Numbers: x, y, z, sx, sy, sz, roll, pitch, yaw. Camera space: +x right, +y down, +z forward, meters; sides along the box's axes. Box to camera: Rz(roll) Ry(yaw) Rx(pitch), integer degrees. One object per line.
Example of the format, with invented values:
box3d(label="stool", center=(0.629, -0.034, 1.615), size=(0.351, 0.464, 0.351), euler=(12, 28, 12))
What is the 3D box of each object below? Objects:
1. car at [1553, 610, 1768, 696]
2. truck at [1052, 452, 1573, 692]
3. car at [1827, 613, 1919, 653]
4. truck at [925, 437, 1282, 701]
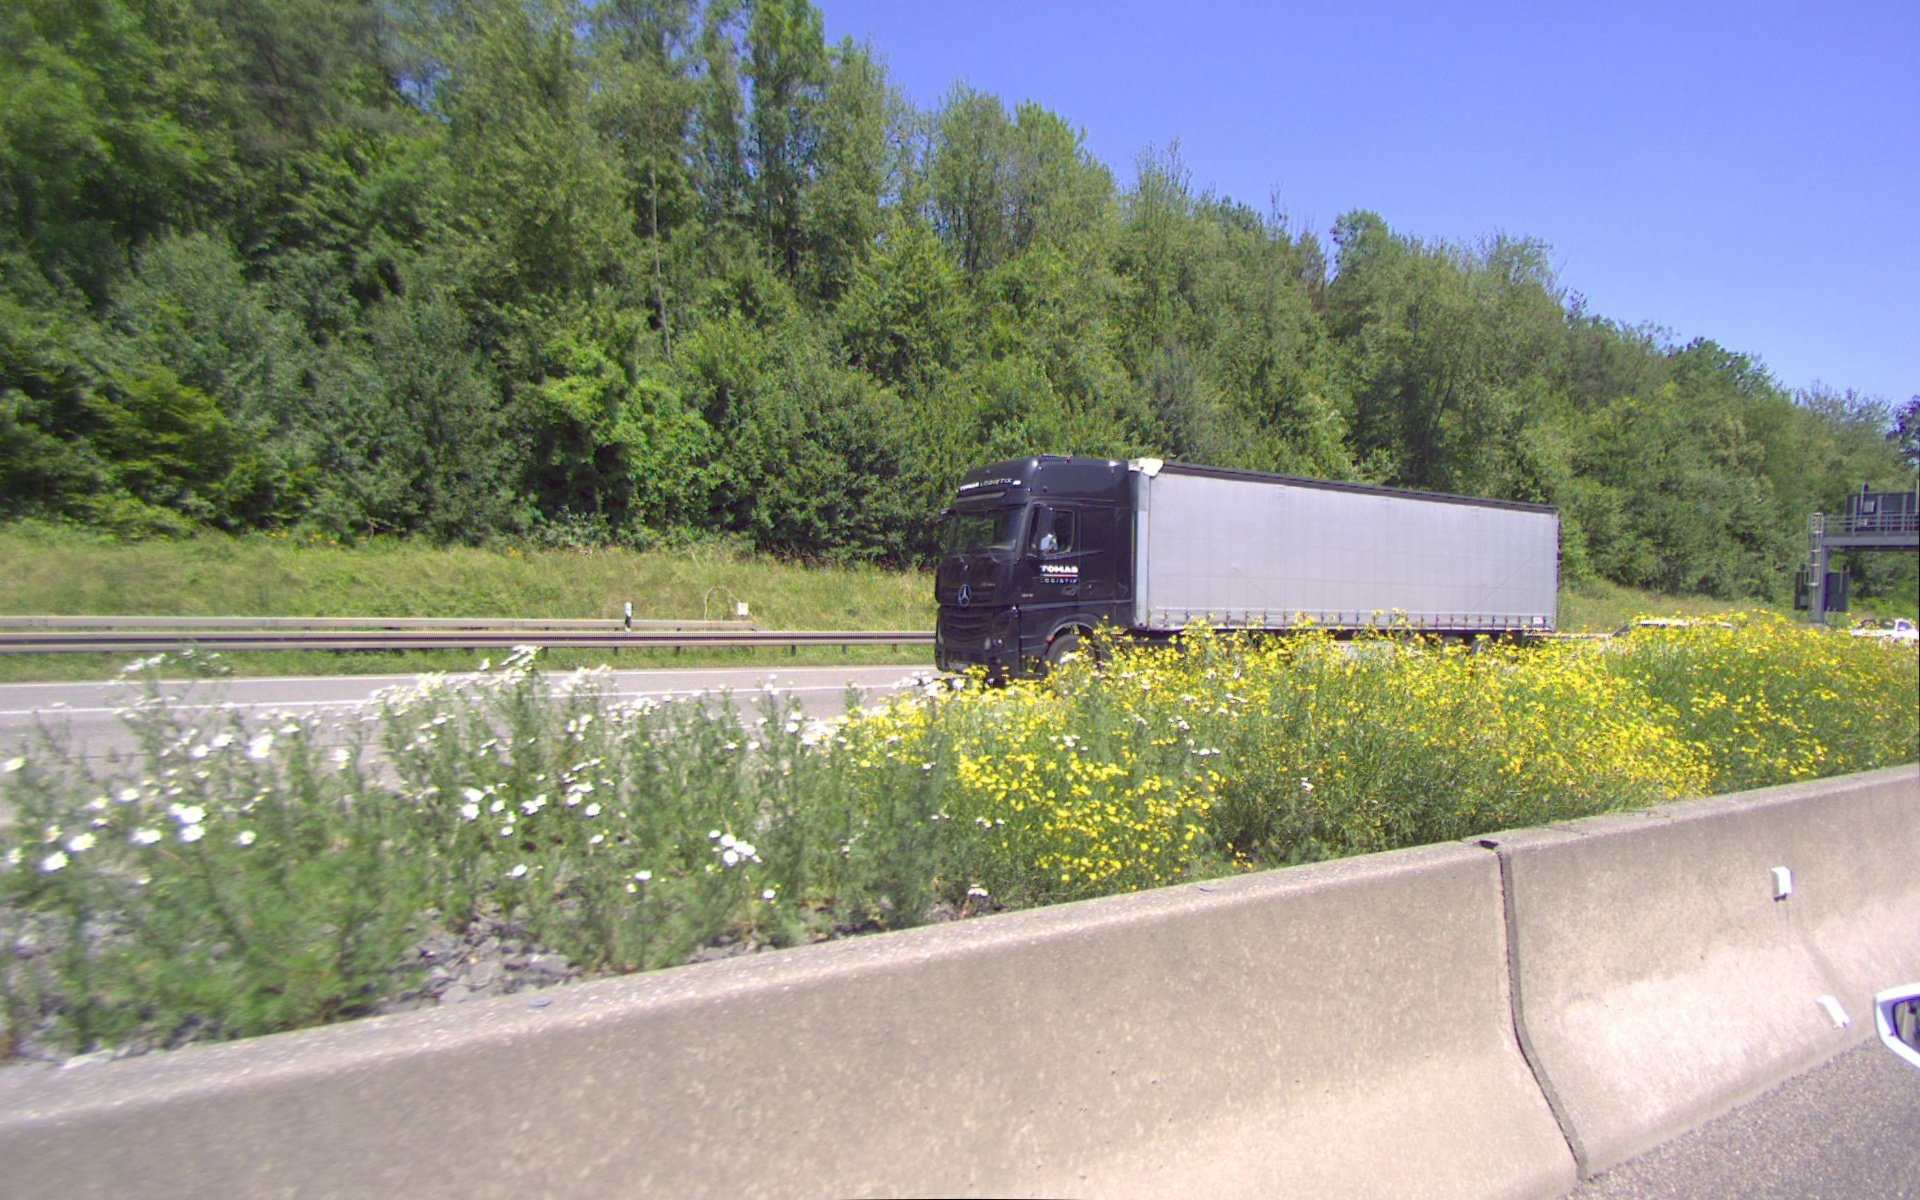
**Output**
box3d(label="car", center=(14.083, 1.008, 20.151), size=(4.198, 1.518, 1.984), euler=(1, 0, -31))
box3d(label="truck", center=(8.230, -0.369, 21.622), size=(13.595, 3.991, 2.813), euler=(1, 0, -33))
box3d(label="car", center=(42.624, 1.526, 46.836), size=(4.712, 1.714, 1.983), euler=(1, 0, -31))
box3d(label="truck", center=(2.644, -0.435, 18.018), size=(5.941, 3.992, 2.813), euler=(1, 0, -33))
